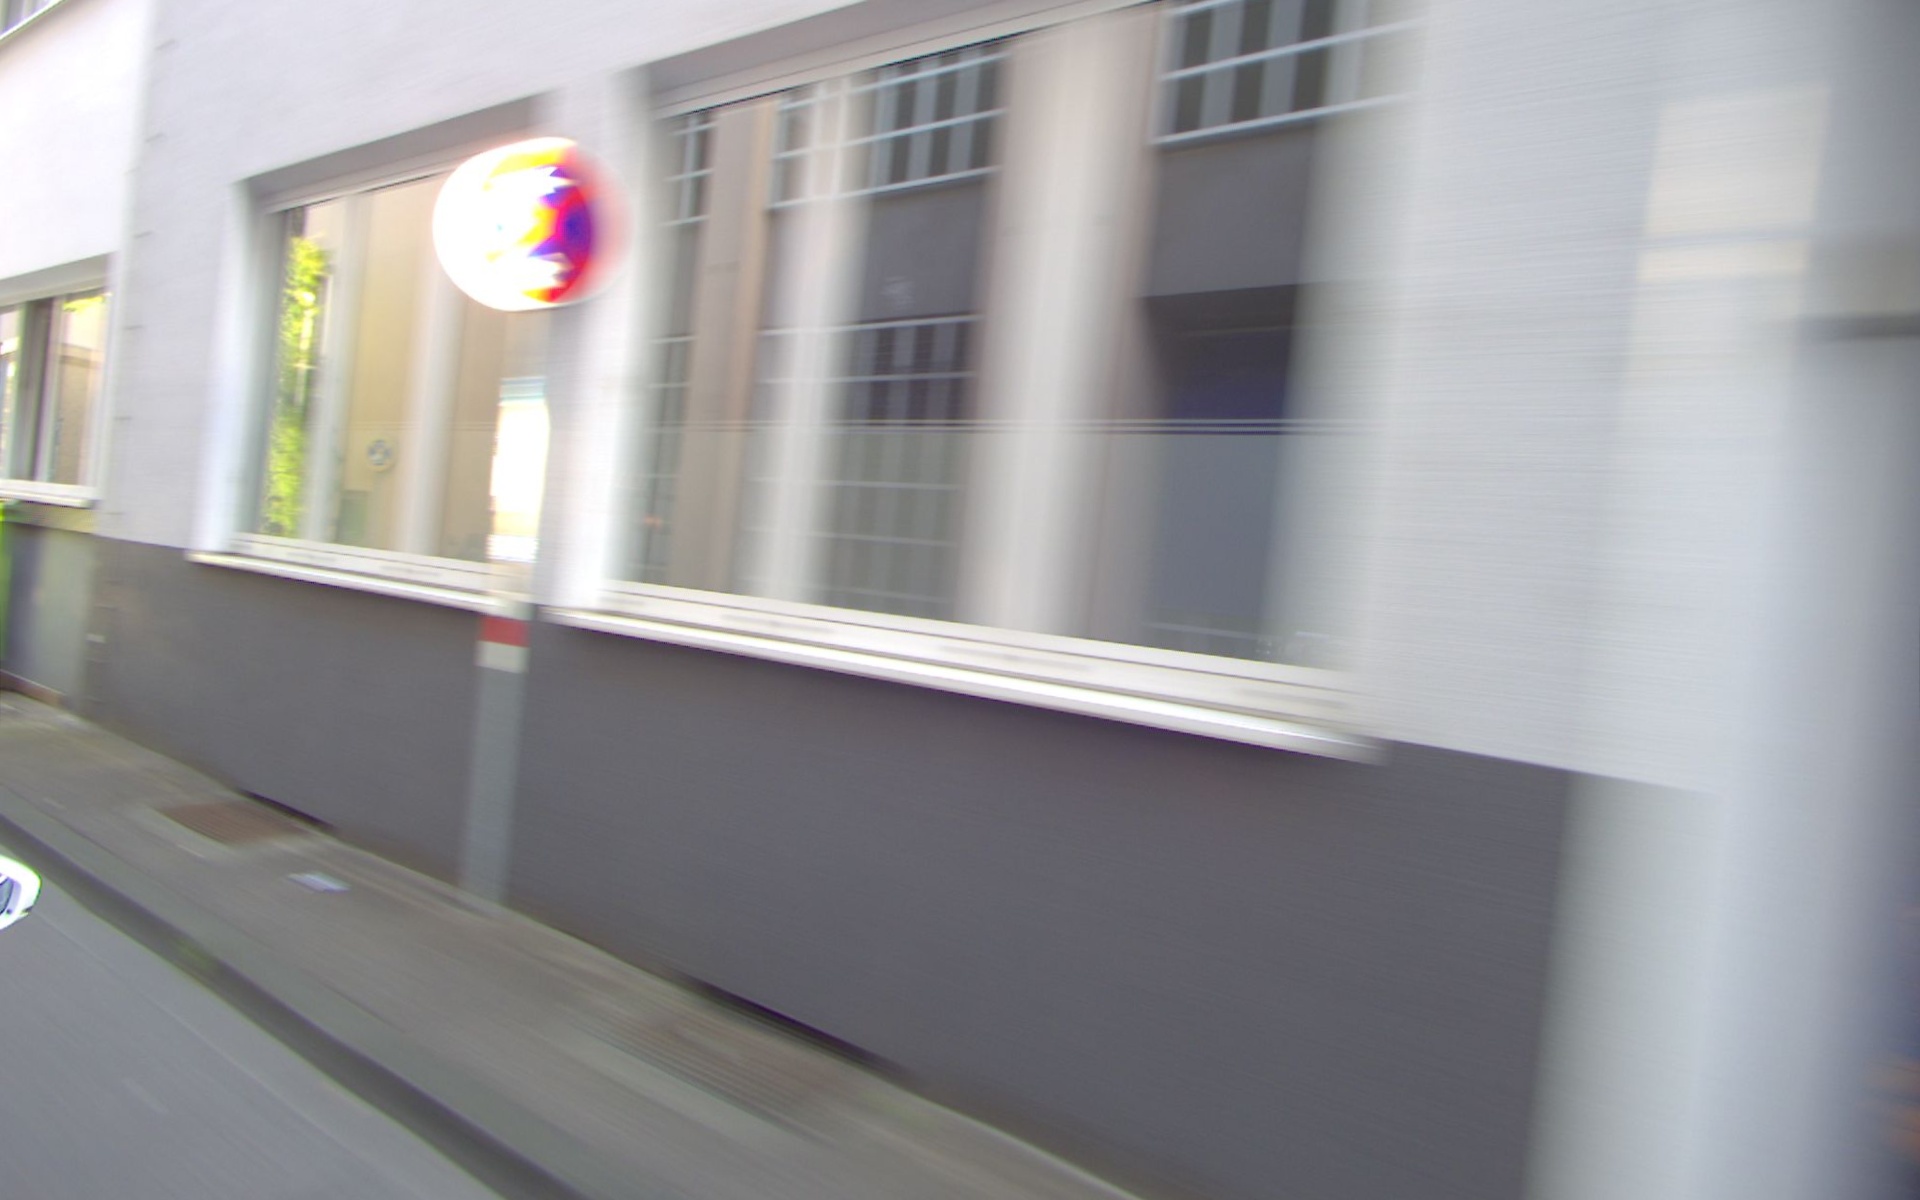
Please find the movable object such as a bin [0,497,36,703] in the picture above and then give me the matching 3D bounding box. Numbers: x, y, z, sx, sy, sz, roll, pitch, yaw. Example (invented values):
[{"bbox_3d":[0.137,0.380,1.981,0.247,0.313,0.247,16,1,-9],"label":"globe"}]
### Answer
[{"bbox_3d":[-7.139,-0.063,6.742,1.318,1.385,0.938,6,2,26],"label":"movable object such as a bin"}]
